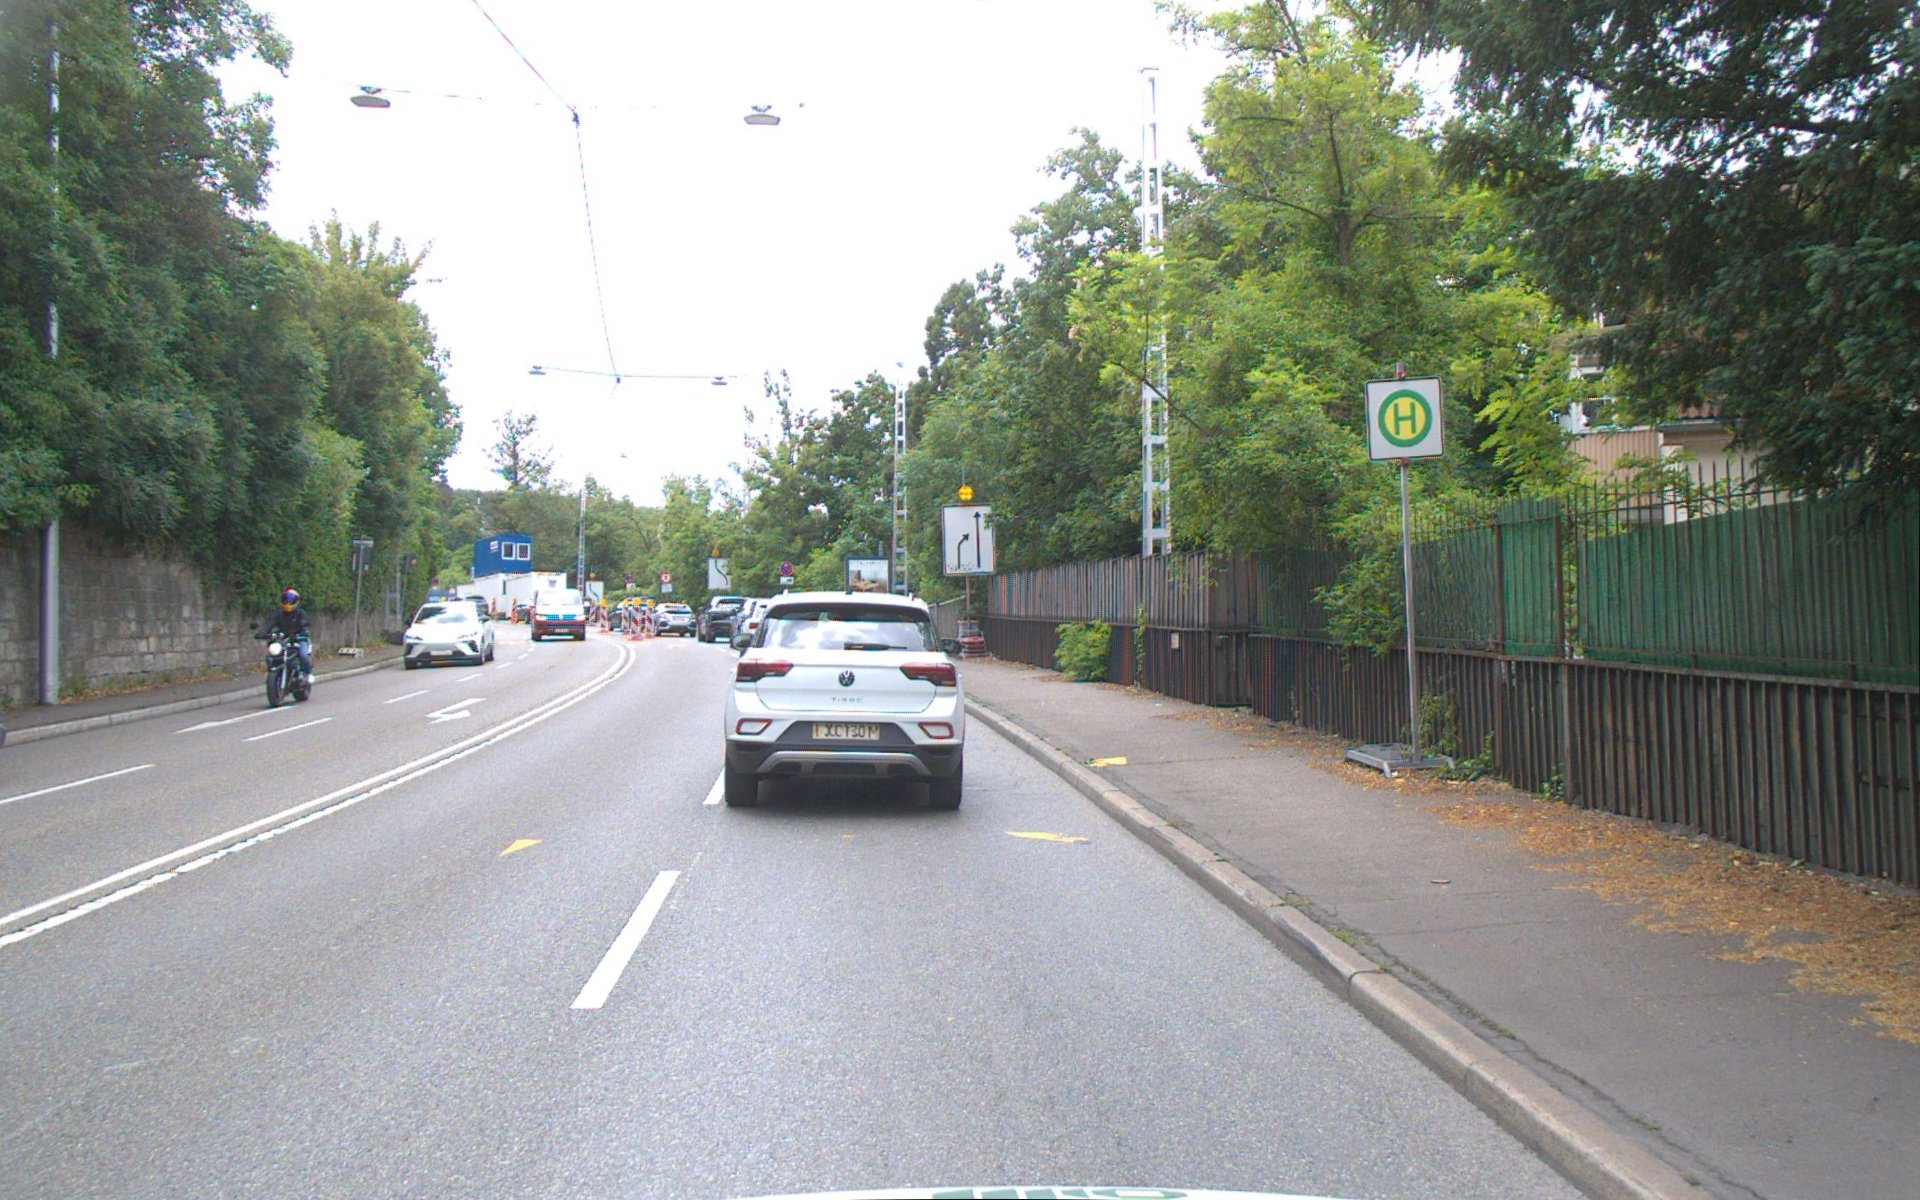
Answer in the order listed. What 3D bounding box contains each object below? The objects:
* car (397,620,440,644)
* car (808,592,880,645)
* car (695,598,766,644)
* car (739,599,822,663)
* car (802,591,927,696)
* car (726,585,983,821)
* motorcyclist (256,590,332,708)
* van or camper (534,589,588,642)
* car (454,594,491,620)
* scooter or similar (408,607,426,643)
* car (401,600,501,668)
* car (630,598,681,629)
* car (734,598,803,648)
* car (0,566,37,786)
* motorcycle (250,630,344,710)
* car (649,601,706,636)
[{"bbox_3d":[-33.080,1.947,100.991,1.874,1.406,3.963,-1,0,-28],"label":"car"},{"bbox_3d":[-3.741,0.562,52.813,1.734,1.548,4.381,-2,0,-11],"label":"car"},{"bbox_3d":[-8.418,0.744,60.377,1.962,1.583,4.131,0,0,-17],"label":"car"},{"bbox_3d":[-4.443,0.736,40.593,1.726,1.497,3.785,1,0,-11],"label":"car"},{"bbox_3d":[-1.673,0.701,27.864,1.725,1.638,3.787,1,0,-9],"label":"car"},{"bbox_3d":[-0.918,0.707,13.067,1.724,1.583,3.790,1,0,-7],"label":"car"},{"bbox_3d":[-10.229,0.735,25.445,0.636,1.735,1.337,-2,0,-4],"label":"motorcyclist"},{"bbox_3d":[-15.225,0.589,63.269,1.857,1.911,4.750,-1,0,-12],"label":"van or camper"},{"bbox_3d":[-33.879,0.444,114.846,1.819,1.729,3.966,-1,1,-26],"label":"car"},{"bbox_3d":[-18.849,0.852,57.416,0.529,1.226,1.272,3,-1,-19],"label":"scooter or similar"},{"bbox_3d":[-12.345,0.804,40.324,1.750,1.492,4.091,-3,0,-10],"label":"car"},{"bbox_3d":[-15.180,0.691,82.372,1.963,1.475,4.129,-1,-1,-18],"label":"car"},{"bbox_3d":[-5.945,0.708,51.074,1.956,1.439,4.142,-1,-1,-9],"label":"car"},{"bbox_3d":[-8.978,0.700,12.492,1.709,1.878,4.246,-3,0,-3],"label":"car"},{"bbox_3d":[-10.181,1.046,25.471,0.637,1.092,2.306,-2,0,-4],"label":"motorcycle"},{"bbox_3d":[-12.512,0.810,72.996,1.962,1.475,4.130,-1,-1,-17],"label":"car"}]
